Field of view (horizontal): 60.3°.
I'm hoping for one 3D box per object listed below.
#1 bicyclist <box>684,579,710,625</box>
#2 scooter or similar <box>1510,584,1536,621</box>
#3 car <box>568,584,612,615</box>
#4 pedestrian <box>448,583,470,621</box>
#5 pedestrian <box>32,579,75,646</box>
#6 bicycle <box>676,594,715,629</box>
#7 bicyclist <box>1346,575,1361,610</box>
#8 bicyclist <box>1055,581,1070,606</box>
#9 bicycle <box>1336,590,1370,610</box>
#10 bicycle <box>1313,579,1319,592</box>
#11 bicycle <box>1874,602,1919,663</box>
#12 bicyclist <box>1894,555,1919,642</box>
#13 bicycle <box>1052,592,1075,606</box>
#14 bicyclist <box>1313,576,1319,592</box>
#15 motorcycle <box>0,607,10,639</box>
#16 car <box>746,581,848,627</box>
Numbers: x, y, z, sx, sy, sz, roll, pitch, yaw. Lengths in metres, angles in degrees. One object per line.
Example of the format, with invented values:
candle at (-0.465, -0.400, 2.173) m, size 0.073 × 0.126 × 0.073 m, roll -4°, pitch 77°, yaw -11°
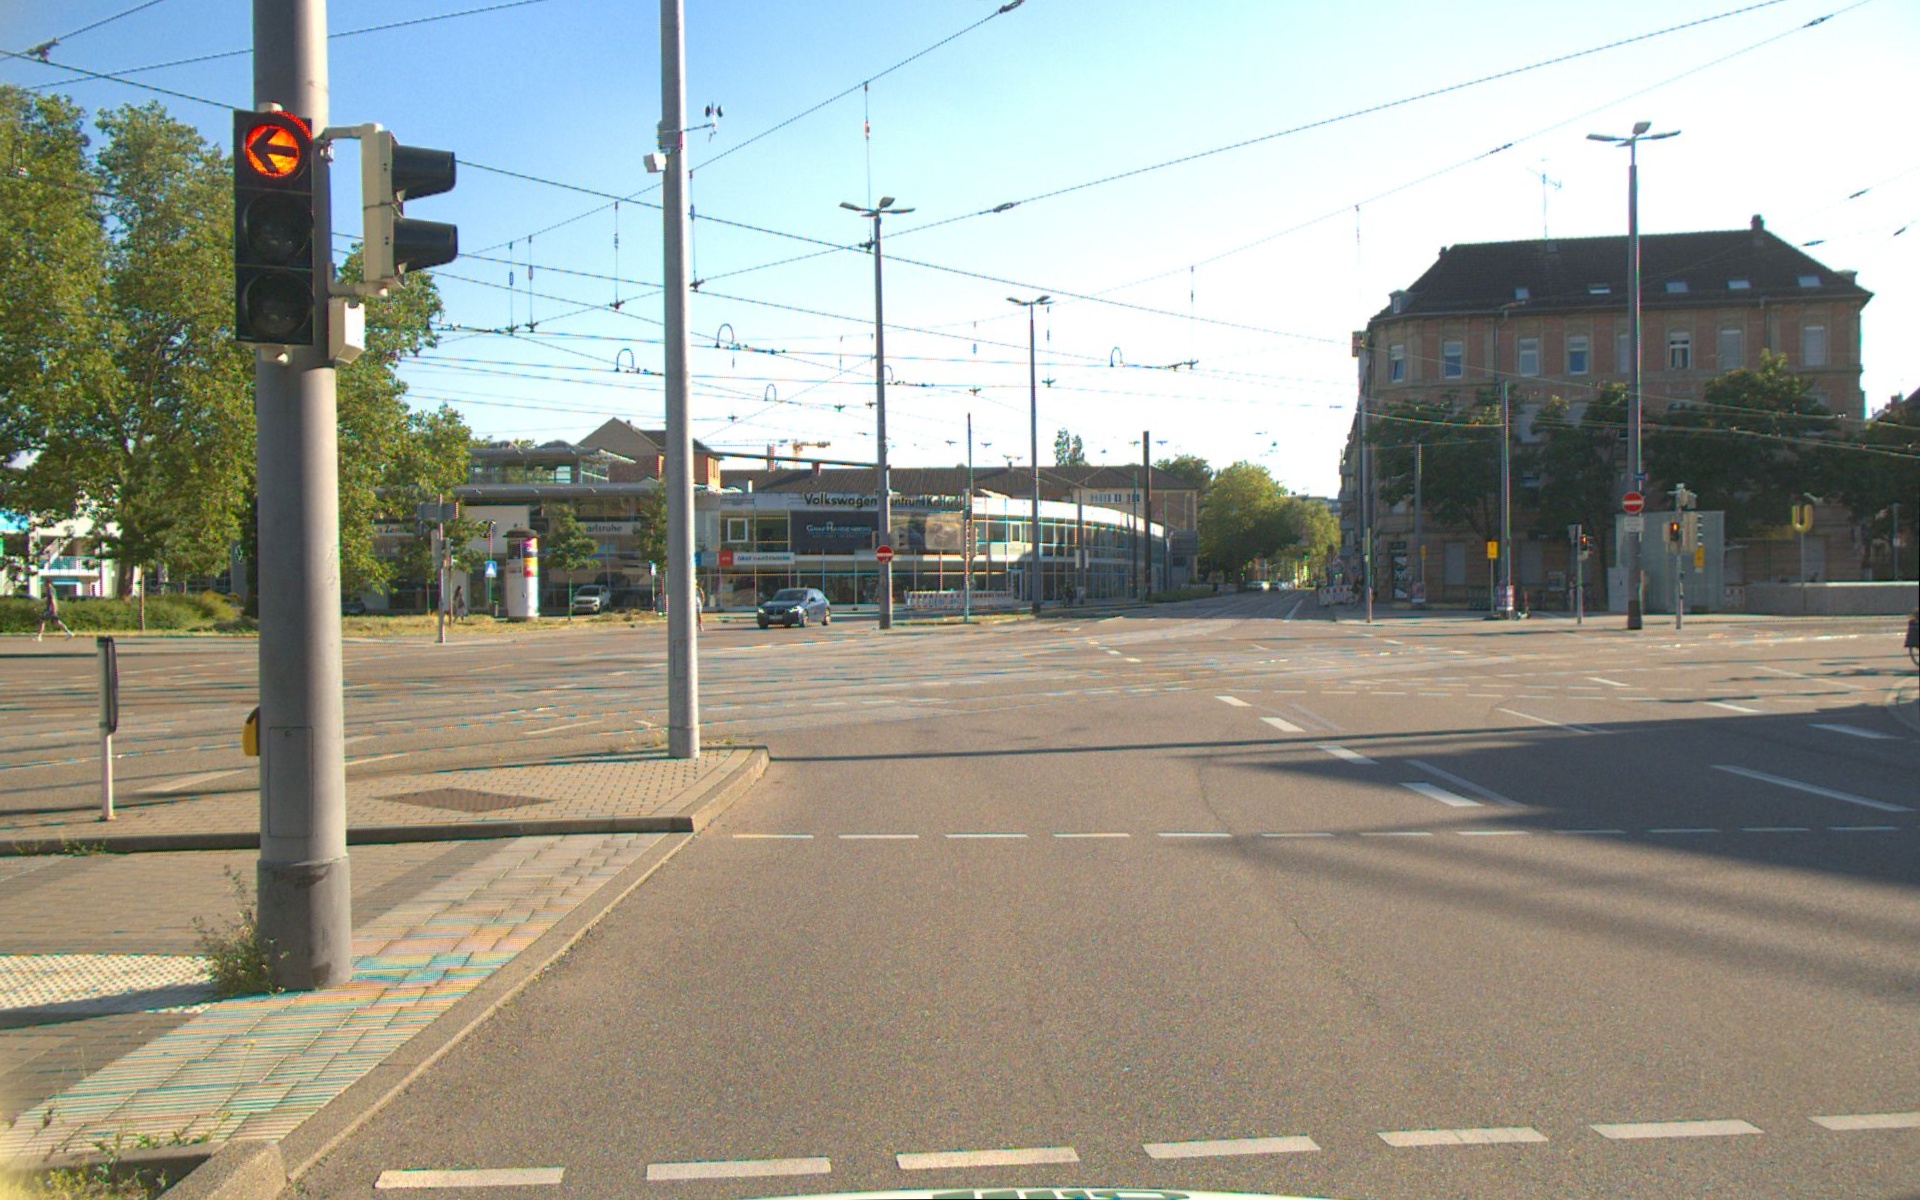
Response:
bicyclist at (-9.474, 0.061, 59.601) m, size 0.585 × 1.644 × 0.823 m, roll 1°, pitch -1°, yaw 17°
scooter or similar at (21.594, 0.098, 63.485) m, size 0.769 × 1.400 × 1.910 m, roll 1°, pitch 0°, yaw 13°
car at (-22.098, -0.001, 98.978) m, size 1.954 × 1.780 × 3.997 m, roll 1°, pitch 0°, yaw -4°
pedestrian at (-23.127, 0.087, 76.376) m, size 0.839 × 1.723 × 0.496 m, roll 1°, pitch -1°, yaw -3°
pedestrian at (-26.361, 0.365, 48.097) m, size 0.777 × 1.919 × 0.759 m, roll 1°, pitch -1°, yaw 6°
bicycle at (-9.501, 0.408, 59.525) m, size 0.599 × 1.210 × 1.870 m, roll 1°, pitch 0°, yaw 17°
bicyclist at (19.496, -0.388, 81.990) m, size 0.515 × 1.730 × 0.509 m, roll 1°, pitch -1°, yaw -38°
bicyclist at (6.754, -0.429, 108.490) m, size 0.641 × 1.600 × 0.921 m, roll 1°, pitch -1°, yaw 28°
bicycle at (19.486, 0.005, 81.990) m, size 0.652 × 0.969 × 1.579 m, roll 1°, pitch 0°, yaw -37°
bicycle at (26.883, -1.114, 124.788) m, size 0.401 × 0.958 × 1.847 m, roll 1°, pitch 0°, yaw 12°
bicycle at (17.665, 0.610, 30.041) m, size 0.524 × 1.067 × 2.316 m, roll 1°, pitch 1°, yaw -9°
bicyclist at (17.654, -0.016, 30.241) m, size 0.505 × 1.584 × 0.945 m, roll 1°, pitch 0°, yaw -9°
bicycle at (6.802, -0.065, 108.582) m, size 0.626 × 0.885 × 2.231 m, roll 1°, pitch 0°, yaw 29°
bicyclist at (26.867, -1.204, 124.721) m, size 0.399 × 1.136 × 0.399 m, roll 1°, pitch -1°, yaw 11°
motorcycle at (-28.922, 0.670, 48.503) m, size 1.748 × 0.930 × 0.675 m, roll 1°, pitch 0°, yaw -21°
car at (-6.025, 0.165, 61.590) m, size 1.954 × 1.613 × 3.996 m, roll 1°, pitch 0°, yaw 26°
